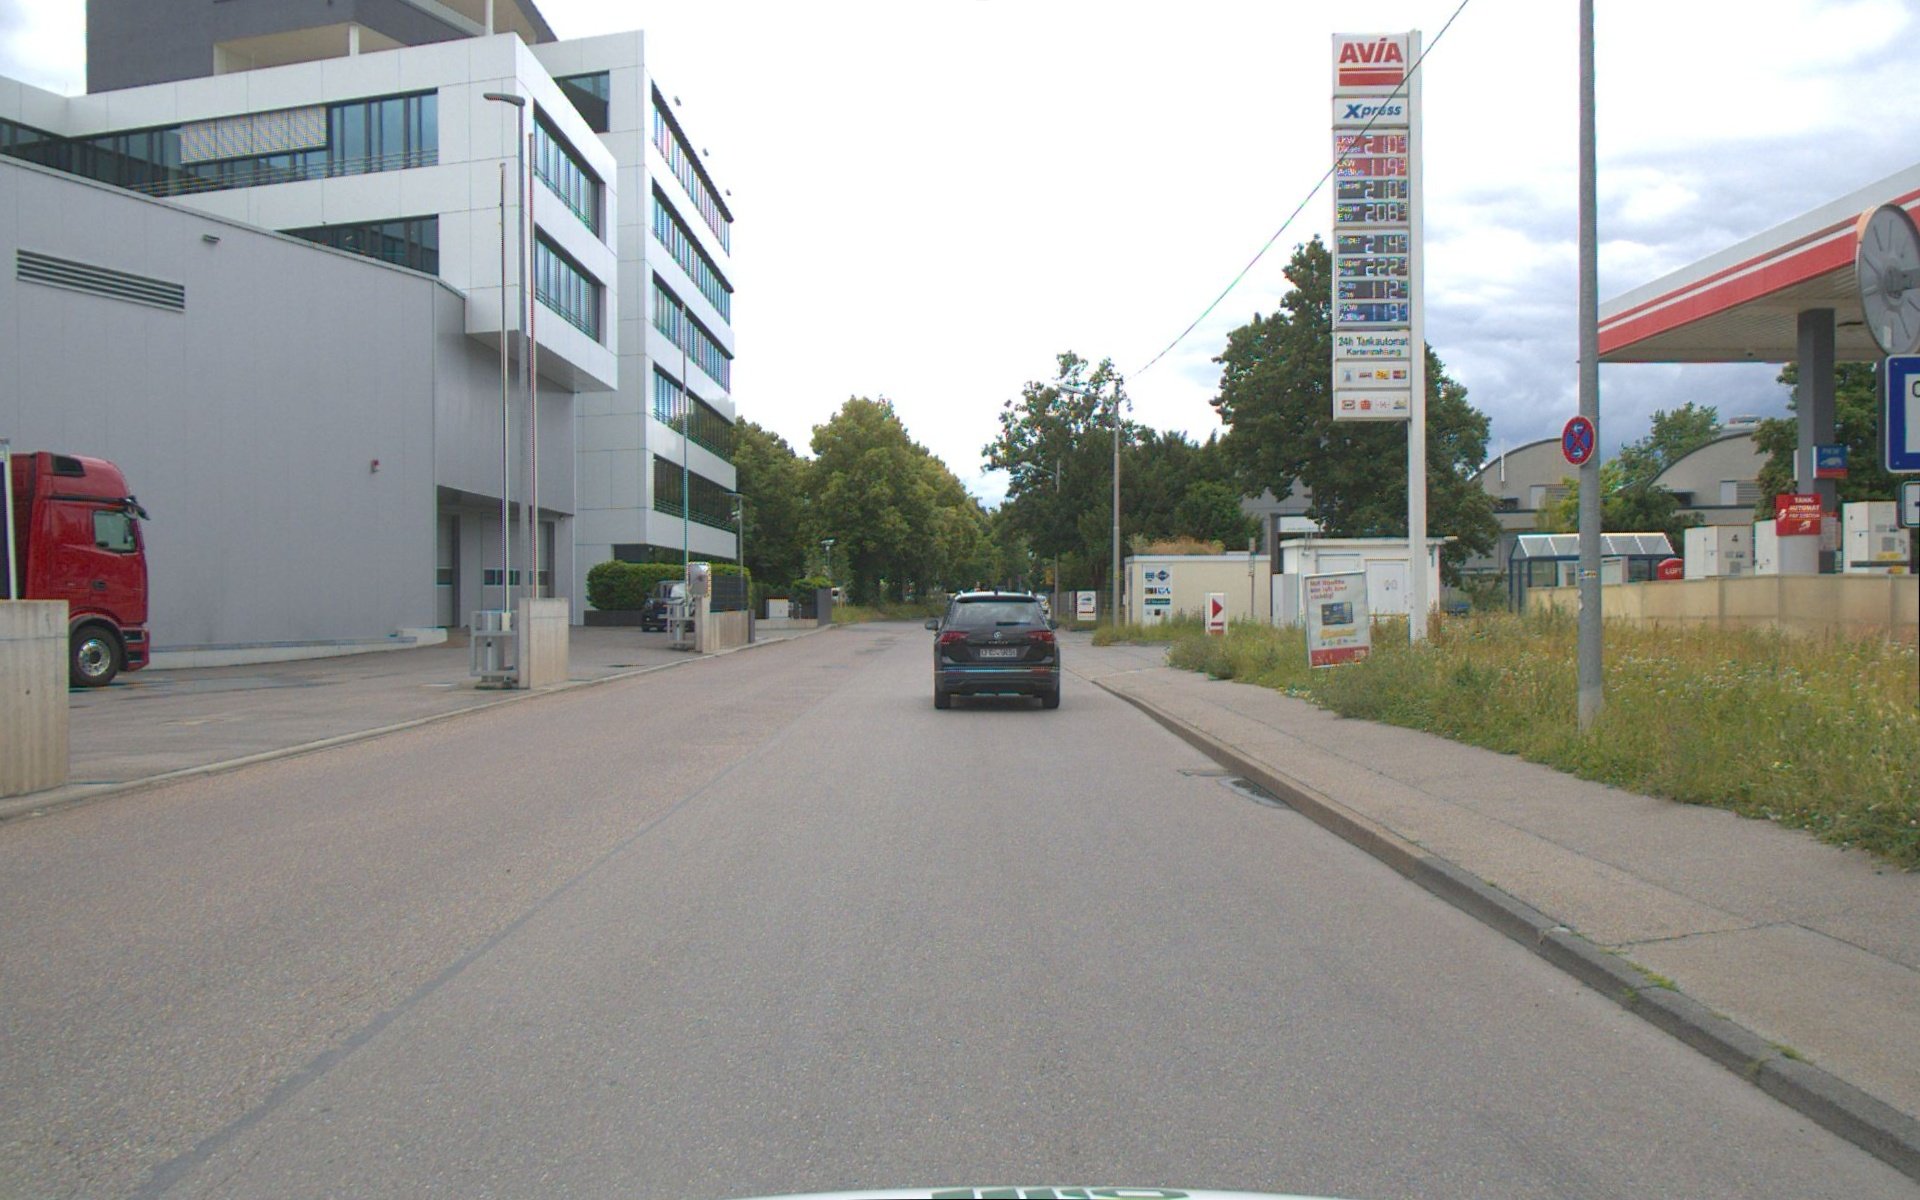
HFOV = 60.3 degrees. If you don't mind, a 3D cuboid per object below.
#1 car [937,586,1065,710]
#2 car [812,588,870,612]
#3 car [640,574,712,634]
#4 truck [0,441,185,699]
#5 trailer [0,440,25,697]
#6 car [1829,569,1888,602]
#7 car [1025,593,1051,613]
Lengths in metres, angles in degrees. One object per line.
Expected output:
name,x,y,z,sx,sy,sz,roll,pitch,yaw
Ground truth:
car,0.616,0.671,24.173,1.703,1.646,3.642,1,-1,2
car,-12.749,-0.008,177.621,5.944,2.429,2.395,-1,0,2
car,-8.869,0.133,51.921,1.616,1.792,3.179,1,0,1
truck,-16.492,-0.485,27.057,2.685,4.101,7.094,0,0,20
trailer,-18.567,-0.449,21.346,2.685,4.101,12.620,0,1,20
car,44.757,-0.745,82.483,1.864,1.547,4.066,-1,1,19
car,7.142,0.270,150.634,1.951,1.818,4.003,1,0,8
